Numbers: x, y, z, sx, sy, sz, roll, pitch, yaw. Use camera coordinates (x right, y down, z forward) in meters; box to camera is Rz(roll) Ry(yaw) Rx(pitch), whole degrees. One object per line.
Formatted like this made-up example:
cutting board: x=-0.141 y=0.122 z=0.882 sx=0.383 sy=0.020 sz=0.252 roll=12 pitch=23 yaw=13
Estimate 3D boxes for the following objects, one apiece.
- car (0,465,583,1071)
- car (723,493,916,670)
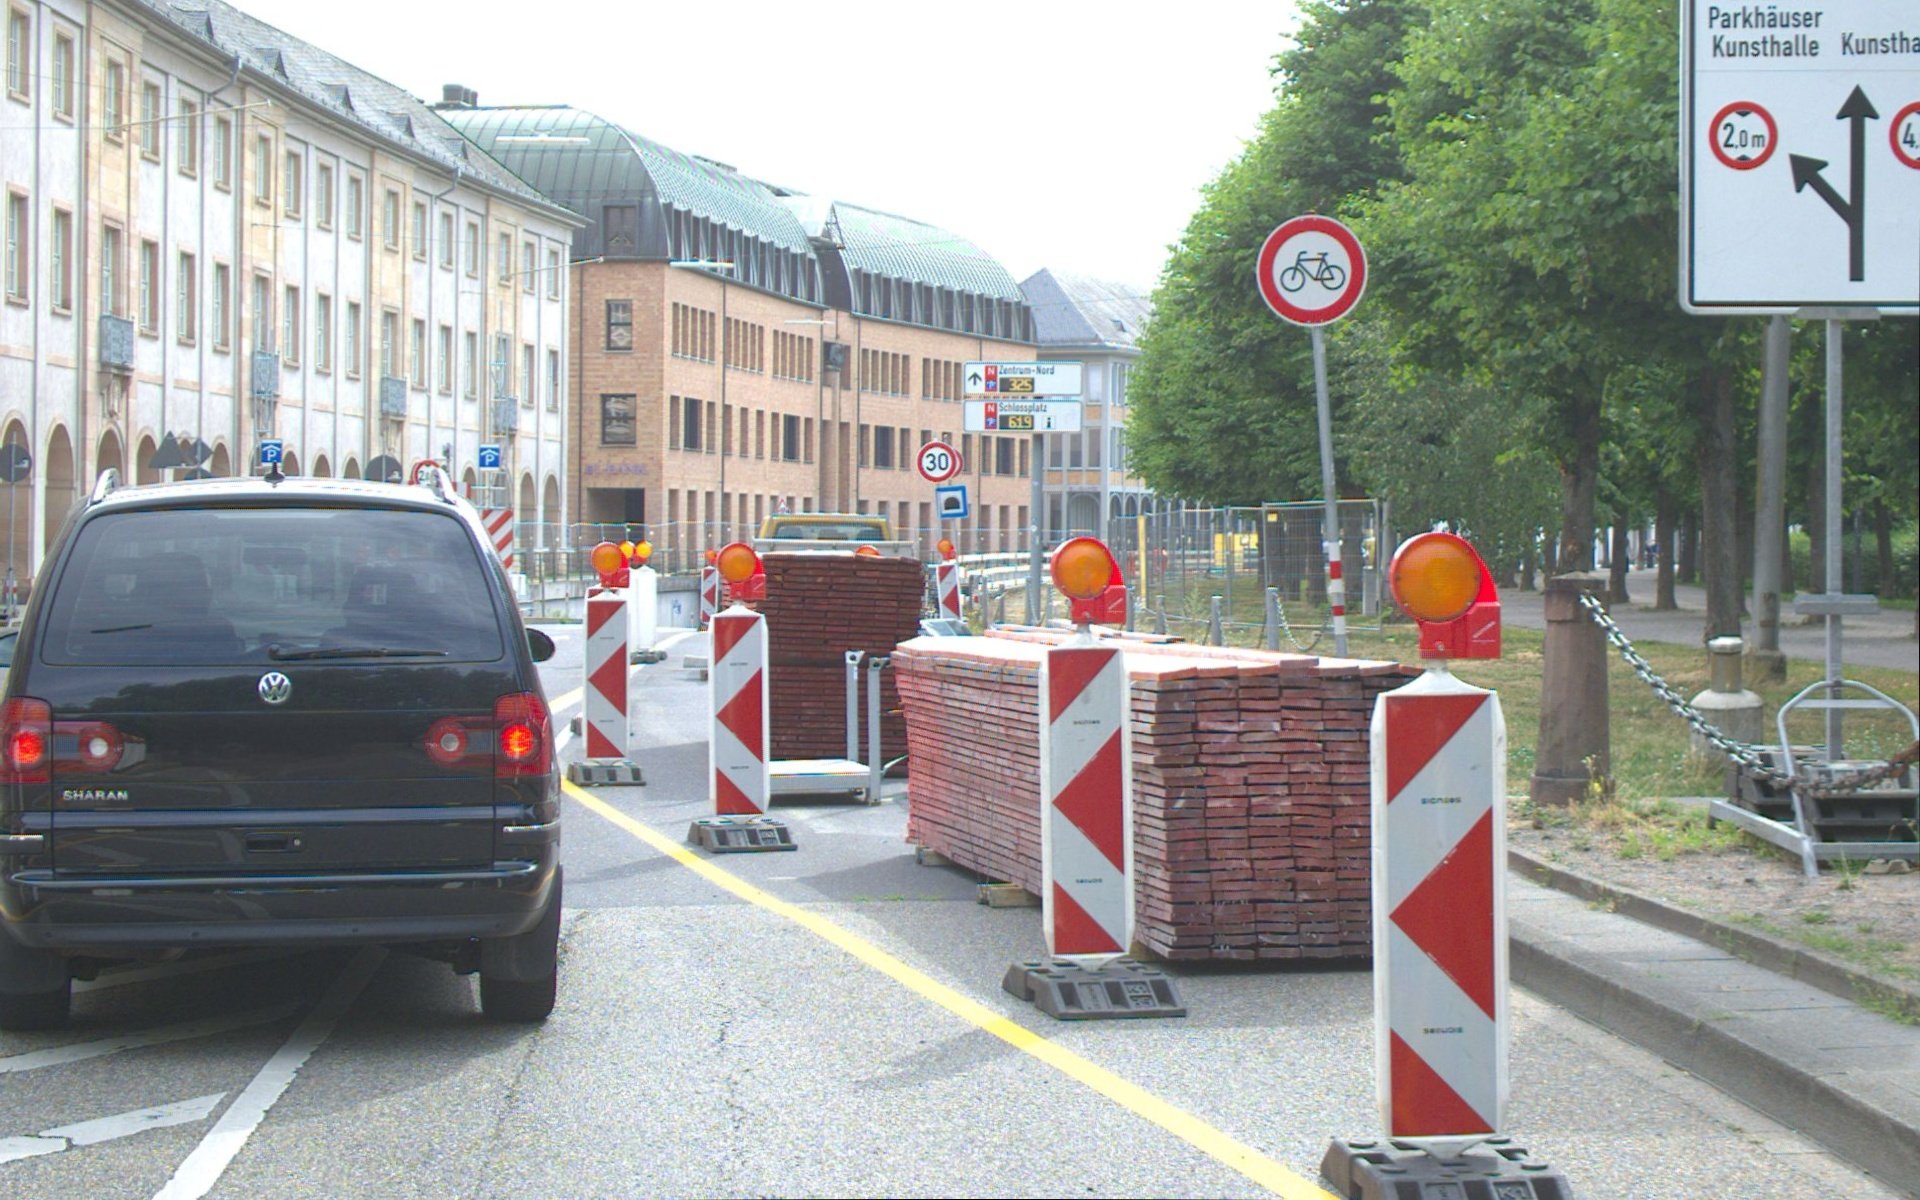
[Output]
car: x=-2.441 y=0.428 z=11.835 sx=1.793 sy=1.702 sz=4.132 roll=0 pitch=1 yaw=-13
car: x=-1.819 y=-0.283 z=43.130 sx=1.993 sy=2.006 sz=4.347 roll=0 pitch=3 yaw=-8
